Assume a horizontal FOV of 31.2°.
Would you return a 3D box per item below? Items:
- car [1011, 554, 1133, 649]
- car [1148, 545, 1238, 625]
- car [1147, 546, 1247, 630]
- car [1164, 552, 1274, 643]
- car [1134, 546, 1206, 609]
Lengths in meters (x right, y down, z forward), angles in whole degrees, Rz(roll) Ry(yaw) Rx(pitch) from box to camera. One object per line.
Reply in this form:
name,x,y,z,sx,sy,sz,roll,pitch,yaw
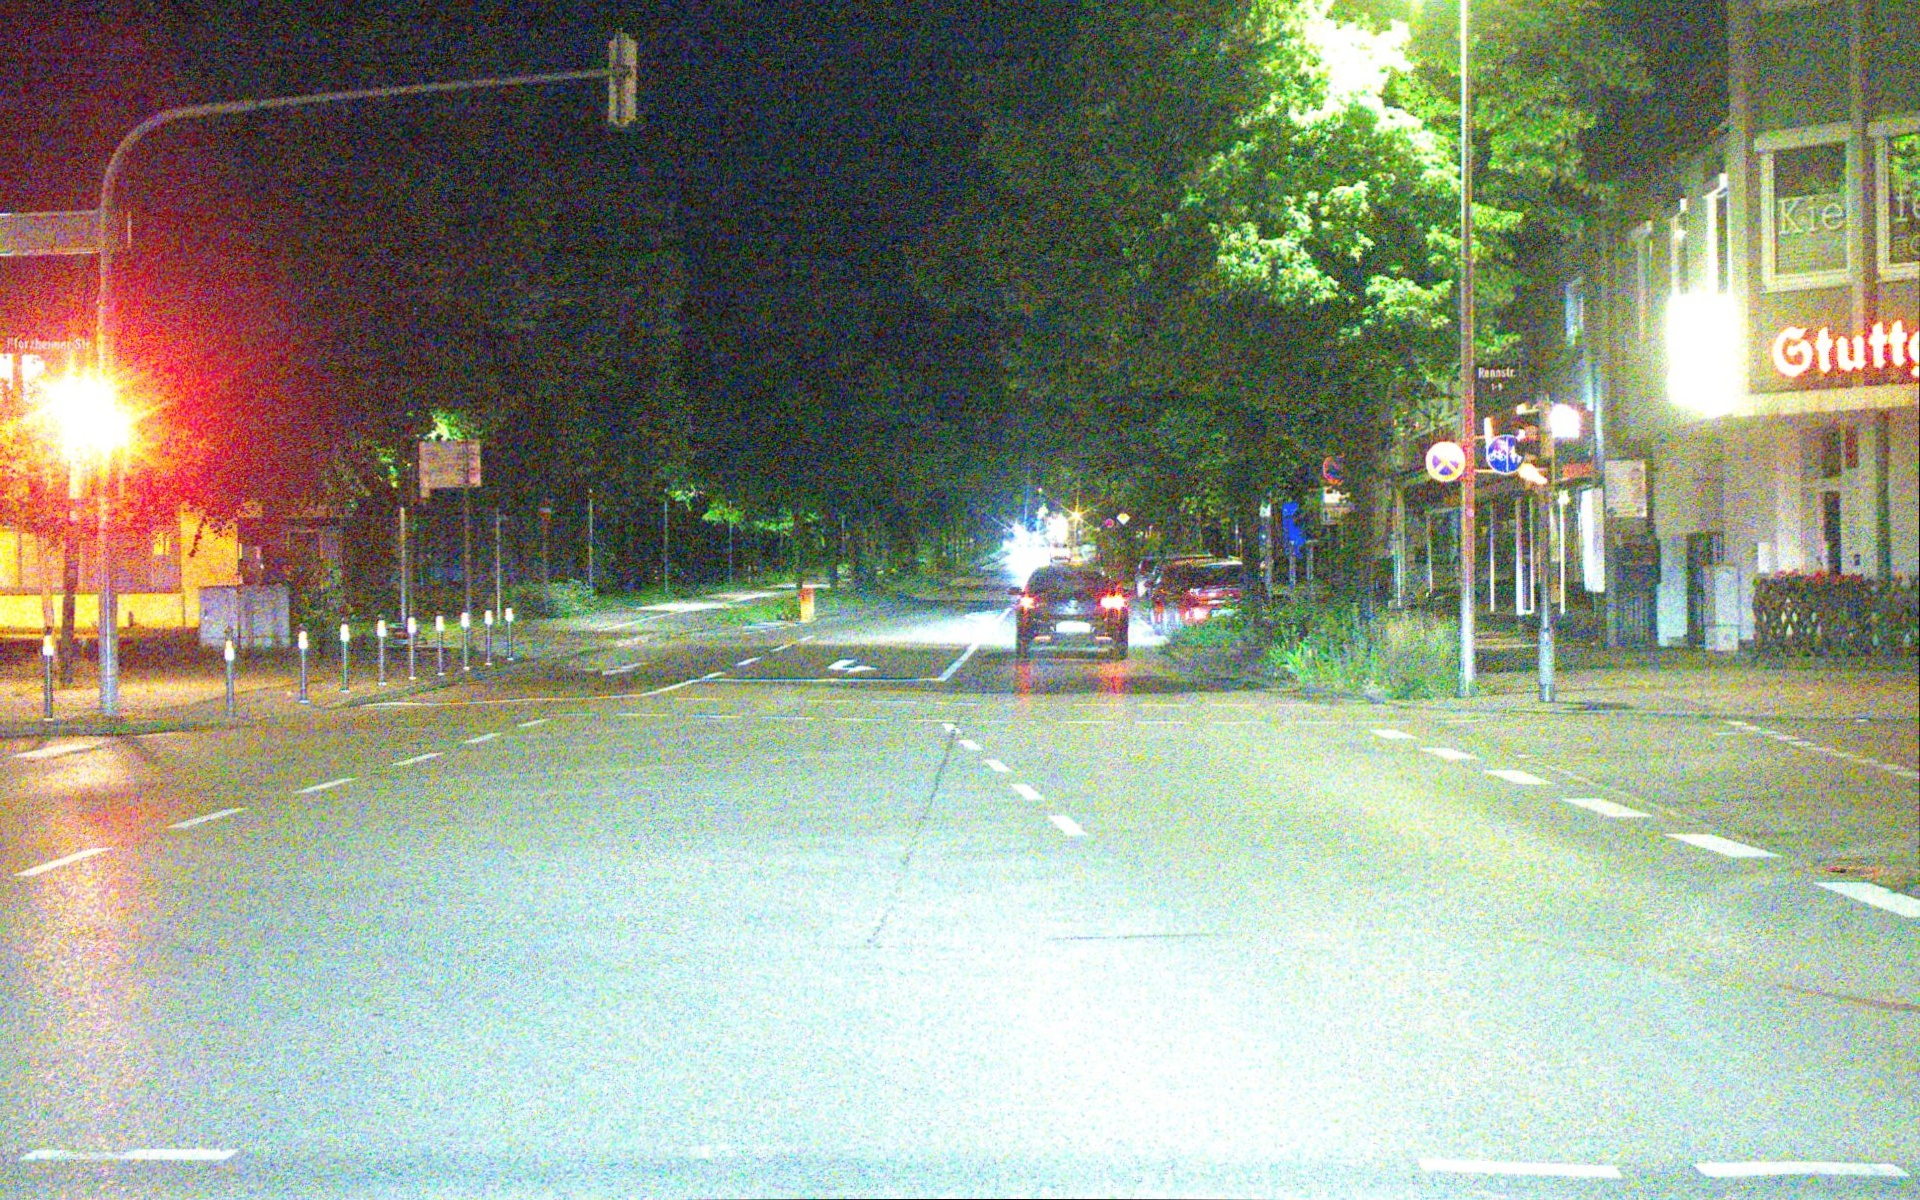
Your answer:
car,1.780,-0.002,55.807,1.873,1.449,4.316,1,1,1
car,5.166,-0.342,76.471,1.876,1.723,4.000,0,1,2
car,4.707,-0.261,68.801,1.876,1.610,4.000,0,1,2
car,4.749,-0.059,63.486,1.876,1.610,4.000,0,1,2
car,5.747,-0.628,94.511,1.876,1.678,4.000,0,1,2
